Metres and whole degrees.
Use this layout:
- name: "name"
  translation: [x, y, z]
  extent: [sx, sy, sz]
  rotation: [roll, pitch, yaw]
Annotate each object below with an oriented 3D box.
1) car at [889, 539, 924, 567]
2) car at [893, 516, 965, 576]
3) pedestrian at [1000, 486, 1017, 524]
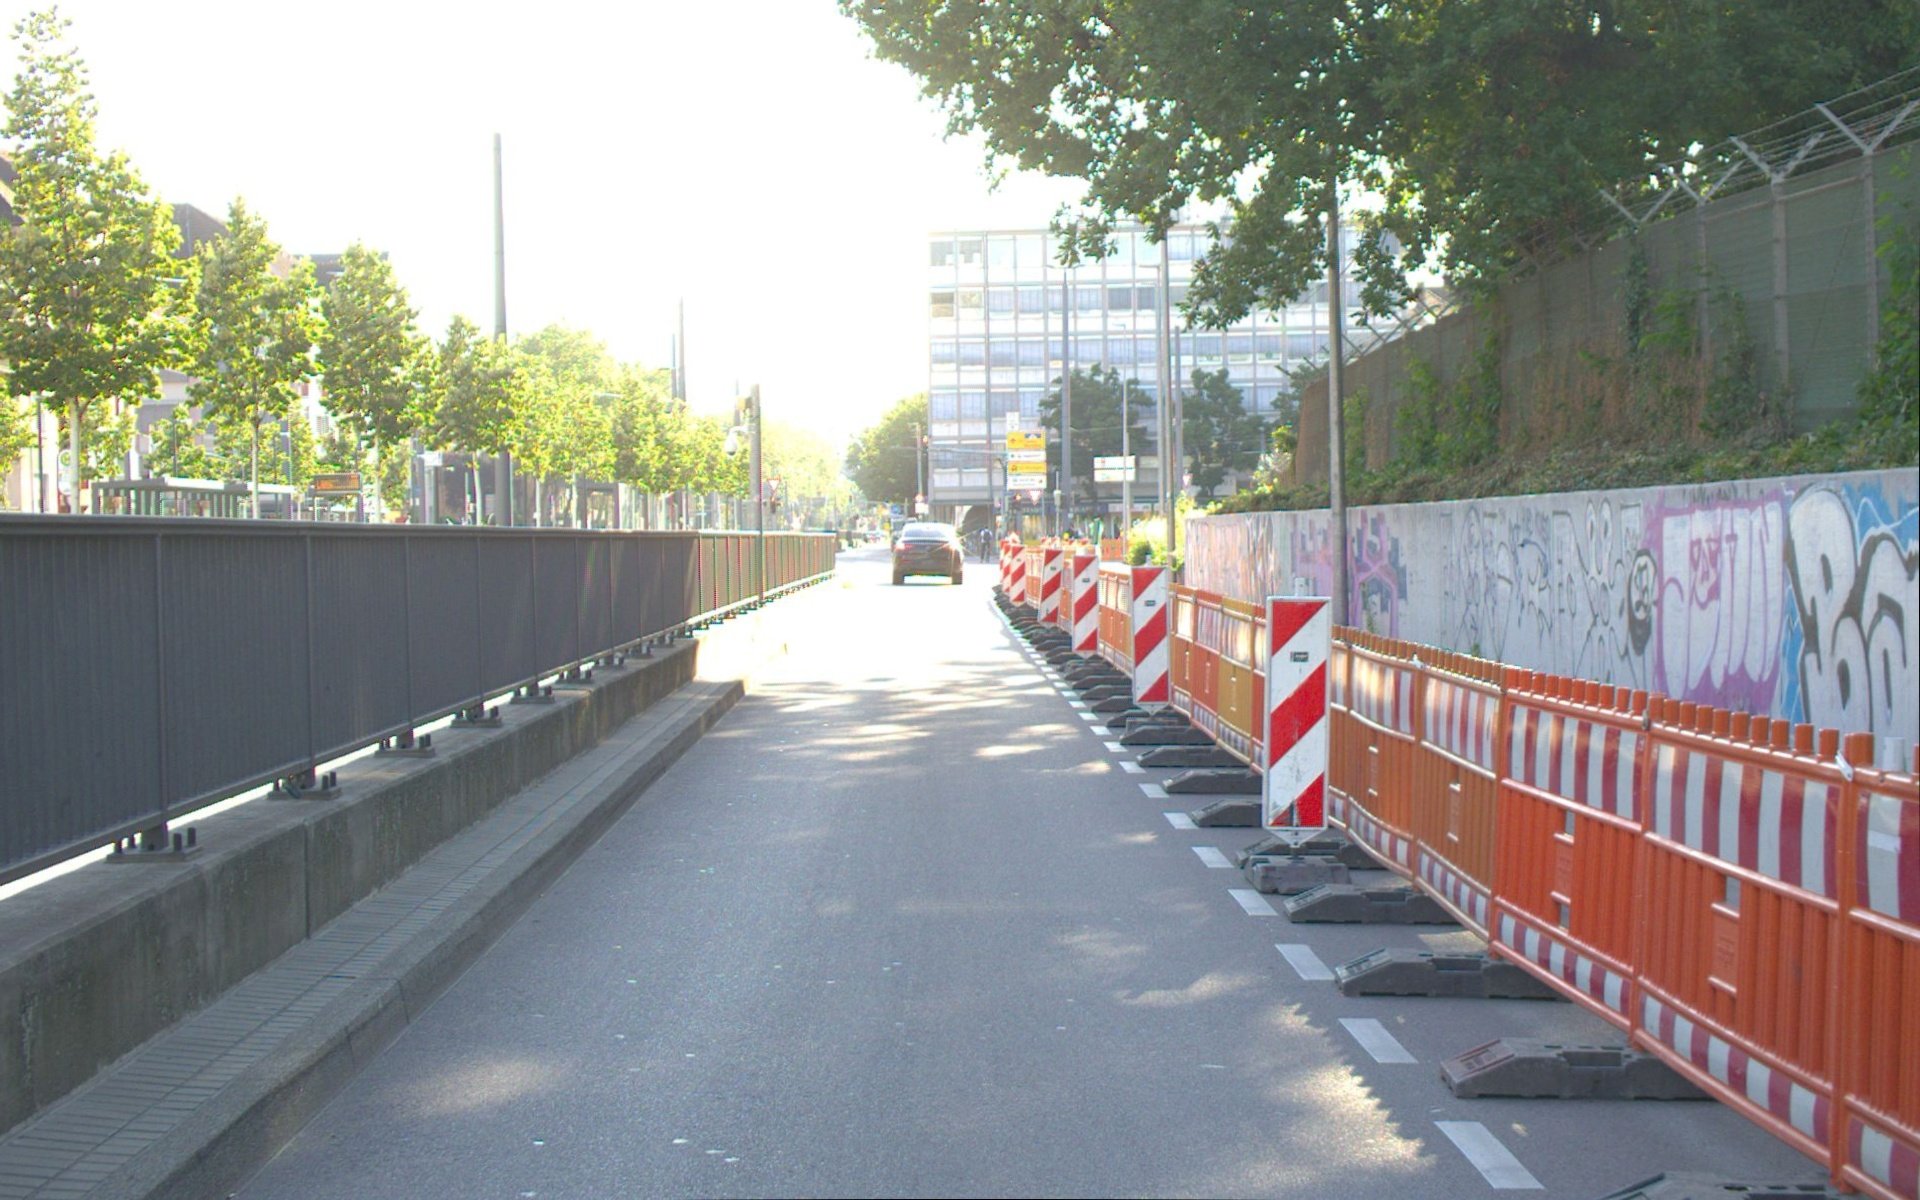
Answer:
- name: "car"
  translation: [-3.200, -2.803, 203.436]
  extent: [1.993, 1.612, 4.000]
  rotation: [0, 1, -2]
- name: "car"
  translation: [-0.871, -1.536, 98.767]
  extent: [2.005, 1.653, 4.000]
  rotation: [1, 1, 0]
- name: "pedestrian"
  translation: [2.700, -5.331, 192.040]
  extent: [0.891, 2.105, 0.718]
  rotation: [0, 2, 5]
